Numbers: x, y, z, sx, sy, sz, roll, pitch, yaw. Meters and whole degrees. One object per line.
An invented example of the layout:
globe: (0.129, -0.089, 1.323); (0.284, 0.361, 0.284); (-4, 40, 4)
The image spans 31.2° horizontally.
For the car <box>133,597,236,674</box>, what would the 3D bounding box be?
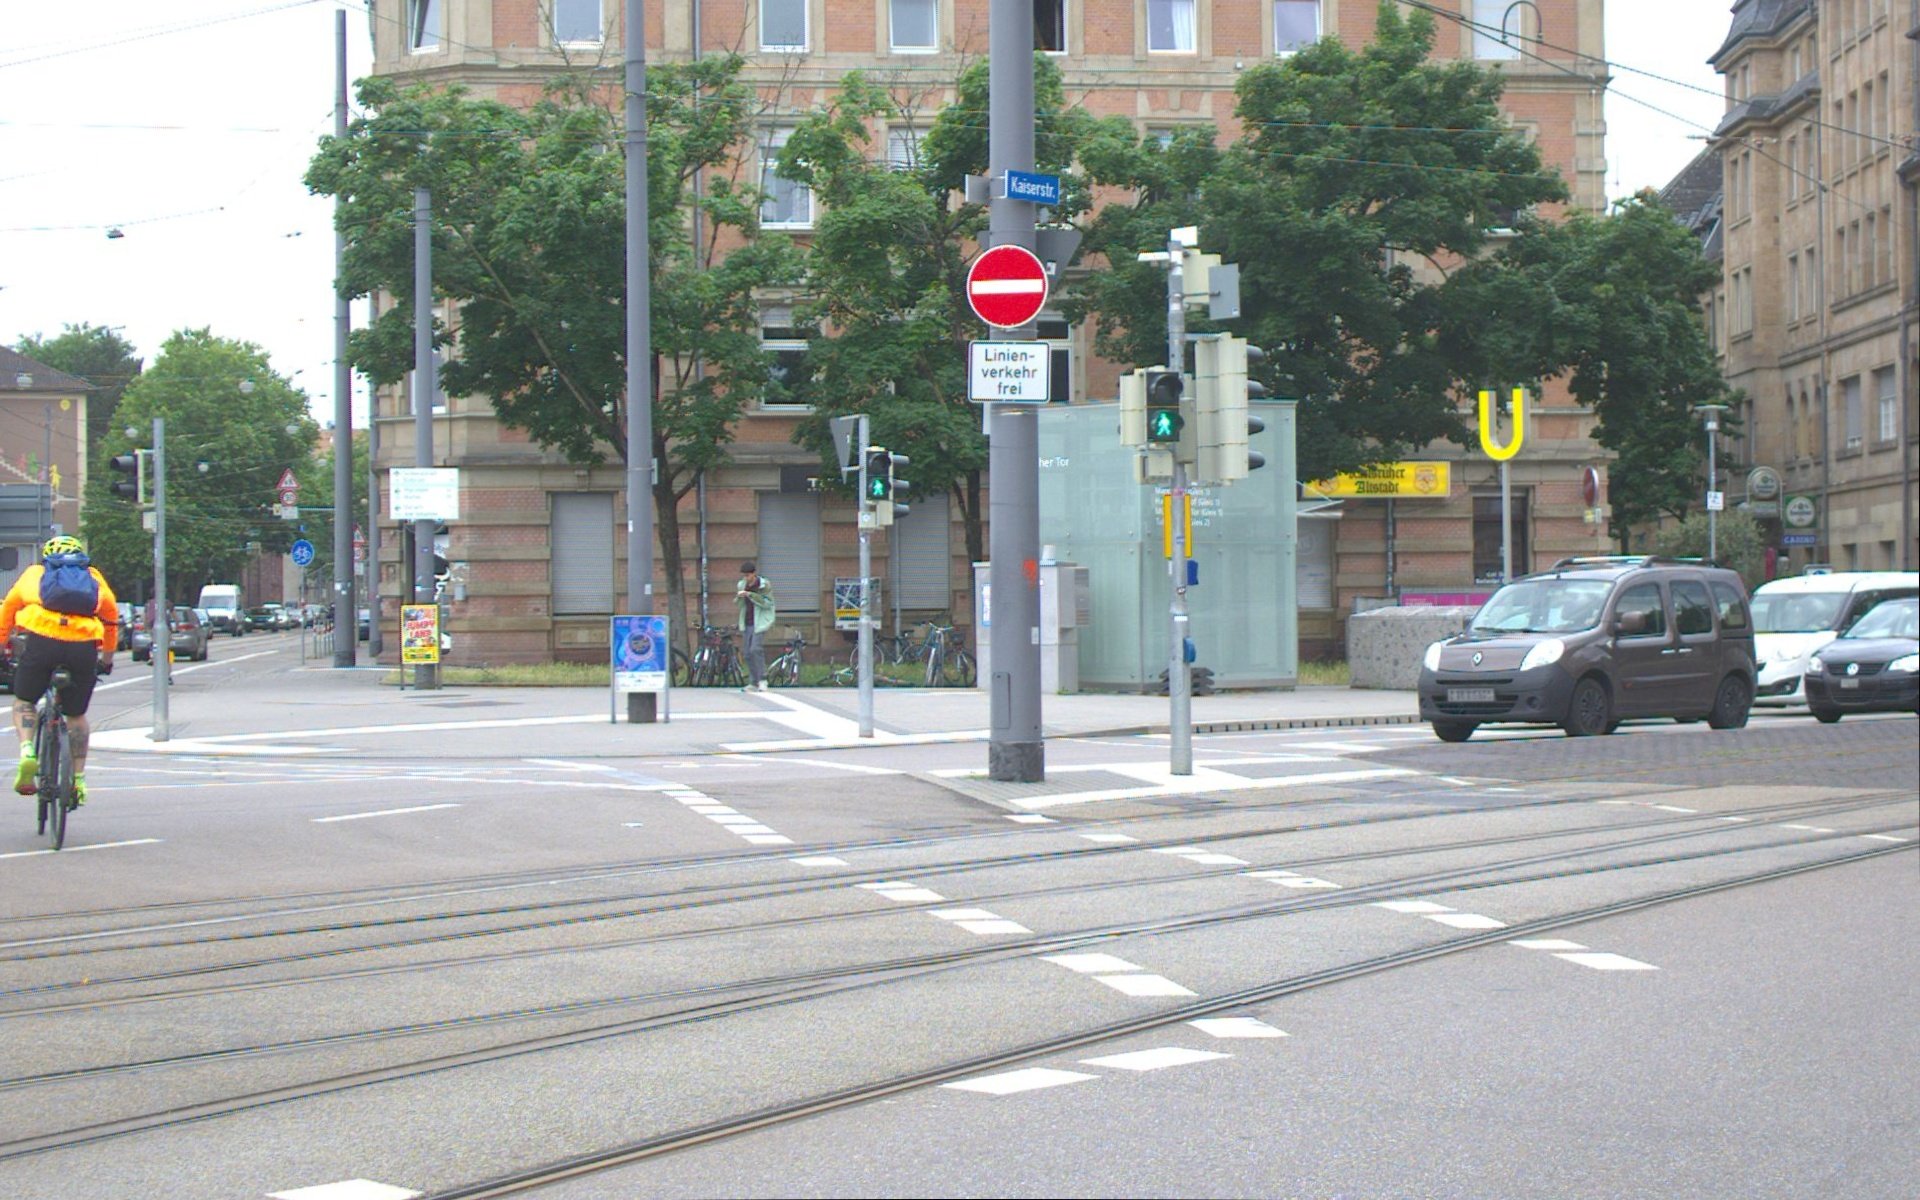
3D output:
car: (-20.871, 0.951, 92.623); (1.993, 2.007, 4.000); (1, -1, -3)

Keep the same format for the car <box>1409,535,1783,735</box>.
car: (6.493, 0.338, 34.795); (1.693, 1.894, 4.376); (0, 0, 42)

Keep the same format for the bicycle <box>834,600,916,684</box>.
bicycle: (-1.398, 0.701, 57.250); (0.958, 1.349, 3.120); (1, -1, 6)

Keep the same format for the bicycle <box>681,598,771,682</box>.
bicycle: (-3.872, 0.670, 57.237); (0.958, 1.349, 3.120); (1, -1, 6)

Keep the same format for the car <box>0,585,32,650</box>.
car: (-28.217, 0.506, 98.035); (1.994, 1.832, 4.522); (0, 0, 4)

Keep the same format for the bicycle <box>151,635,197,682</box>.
bicycle: (-13.774, 1.021, 60.245); (0.619, 0.791, 1.592); (0, 0, -19)

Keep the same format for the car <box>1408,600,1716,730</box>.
car: (7.071, 0.728, 40.120); (1.693, 1.437, 3.990); (0, 0, 42)

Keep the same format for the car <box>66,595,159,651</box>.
car: (-28.108, 0.746, 114.123); (1.993, 1.832, 4.523); (0, 0, 0)

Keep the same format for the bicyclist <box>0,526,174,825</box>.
bicyclist: (-4.989, 0.406, 19.319); (0.827, 1.615, 1.322); (0, 0, -26)

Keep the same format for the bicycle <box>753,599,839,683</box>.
bicycle: (-2.709, 0.684, 57.234); (0.958, 1.349, 3.120); (1, -1, 6)

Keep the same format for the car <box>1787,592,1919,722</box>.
car: (11.382, 0.639, 40.099); (1.693, 1.437, 3.990); (0, 0, 42)

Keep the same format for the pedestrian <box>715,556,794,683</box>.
pedestrian: (-2.802, 0.262, 46.953); (0.909, 1.722, 0.602); (0, 0, -26)

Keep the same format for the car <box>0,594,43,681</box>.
car: (-16.729, 0.619, 57.501); (1.993, 1.415, 4.001); (0, 0, -5)

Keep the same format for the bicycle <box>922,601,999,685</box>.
bicycle: (0.025, 0.722, 57.627); (0.958, 1.349, 3.120); (1, -1, 6)

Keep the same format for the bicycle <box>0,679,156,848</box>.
bicycle: (-5.029, 0.891, 19.279); (0.556, 0.845, 2.074); (0, 0, -26)

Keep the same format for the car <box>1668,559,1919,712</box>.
car: (11.502, 0.445, 45.395); (1.867, 1.909, 5.088); (0, 0, 43)

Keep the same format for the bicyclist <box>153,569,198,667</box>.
bicyclist: (-13.760, 0.320, 60.276); (0.687, 1.702, 0.799); (0, 0, -19)
